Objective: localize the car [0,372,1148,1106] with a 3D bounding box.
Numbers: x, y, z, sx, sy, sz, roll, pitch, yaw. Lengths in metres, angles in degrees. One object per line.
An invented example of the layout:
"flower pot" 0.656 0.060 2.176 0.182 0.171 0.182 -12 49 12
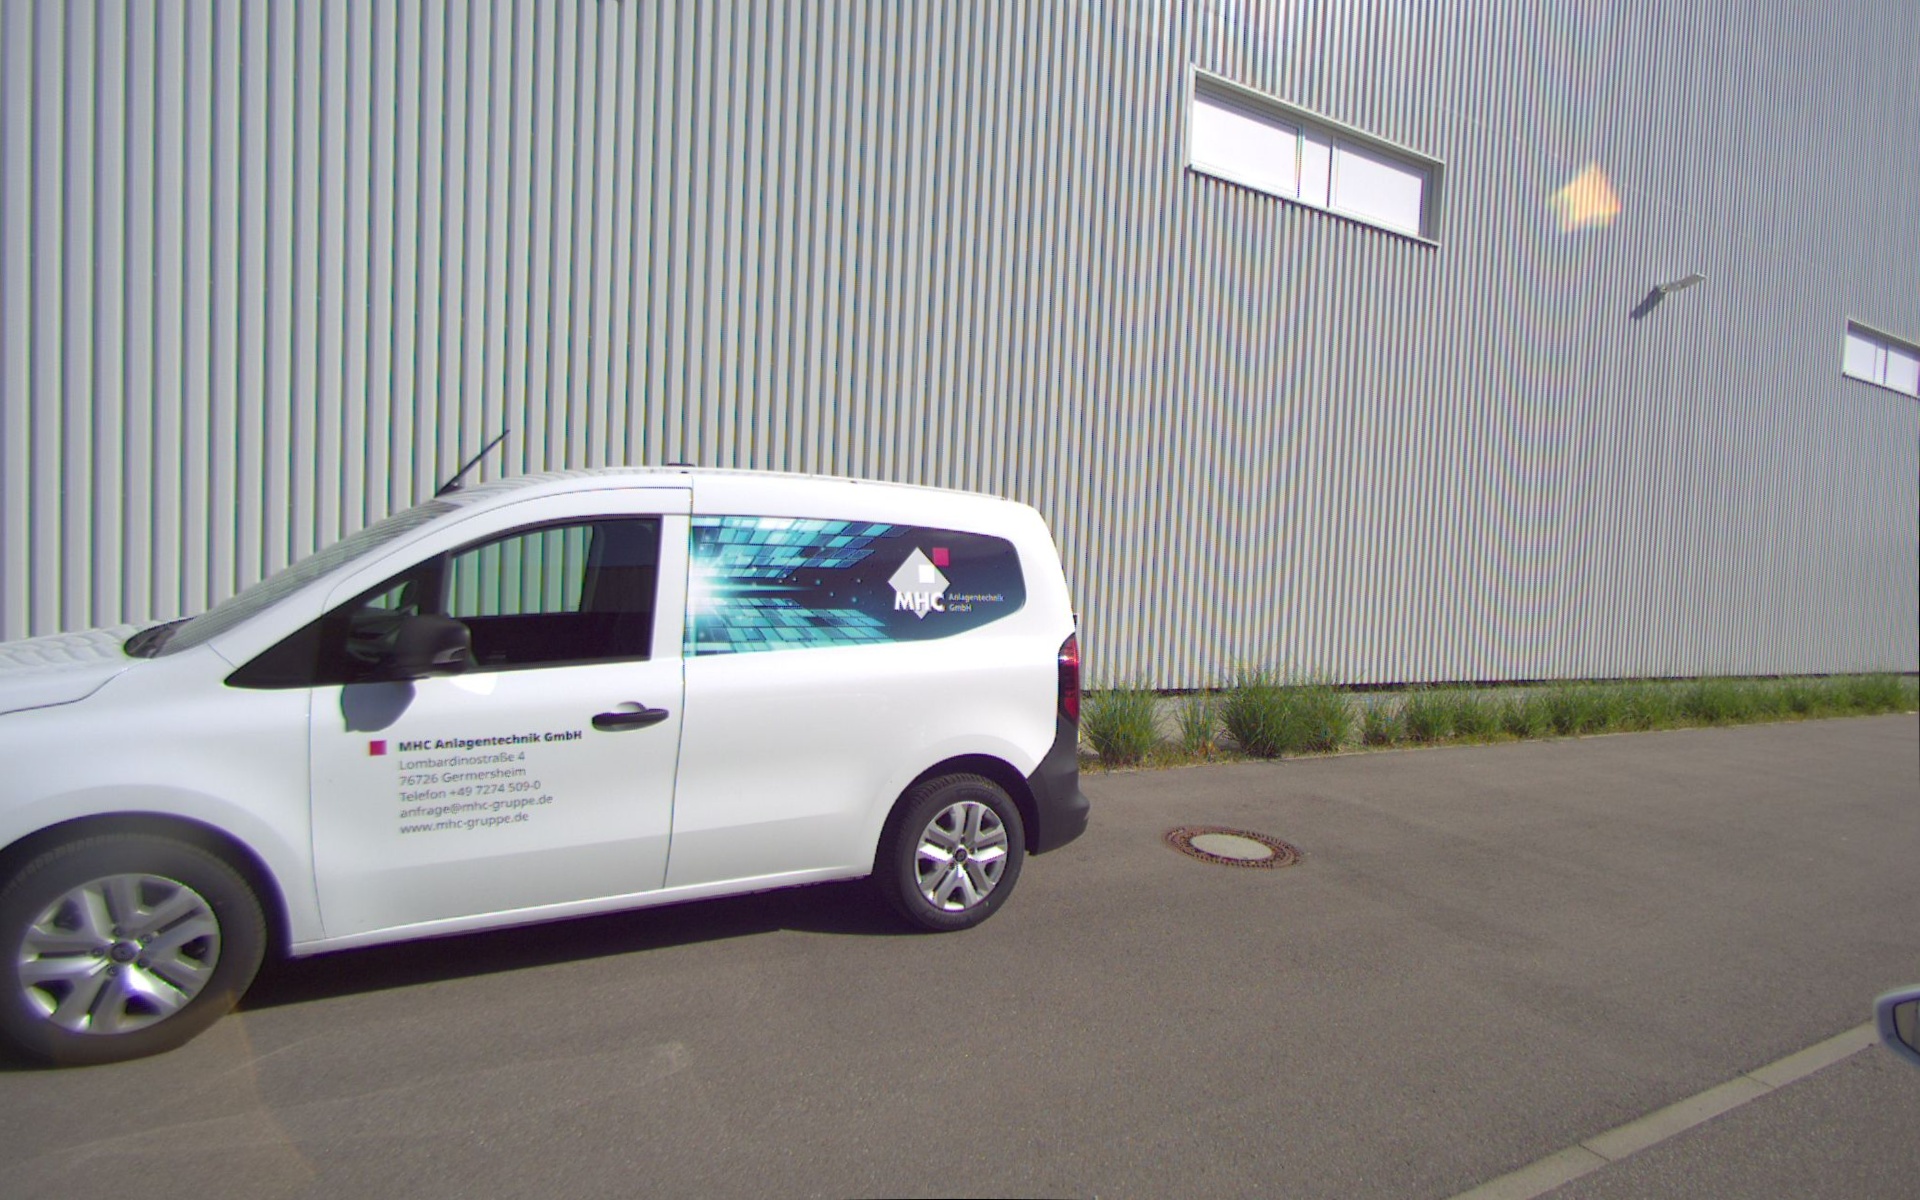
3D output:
"car" -1.551 0.332 4.129 4.307 1.870 1.881 2 4 -30
